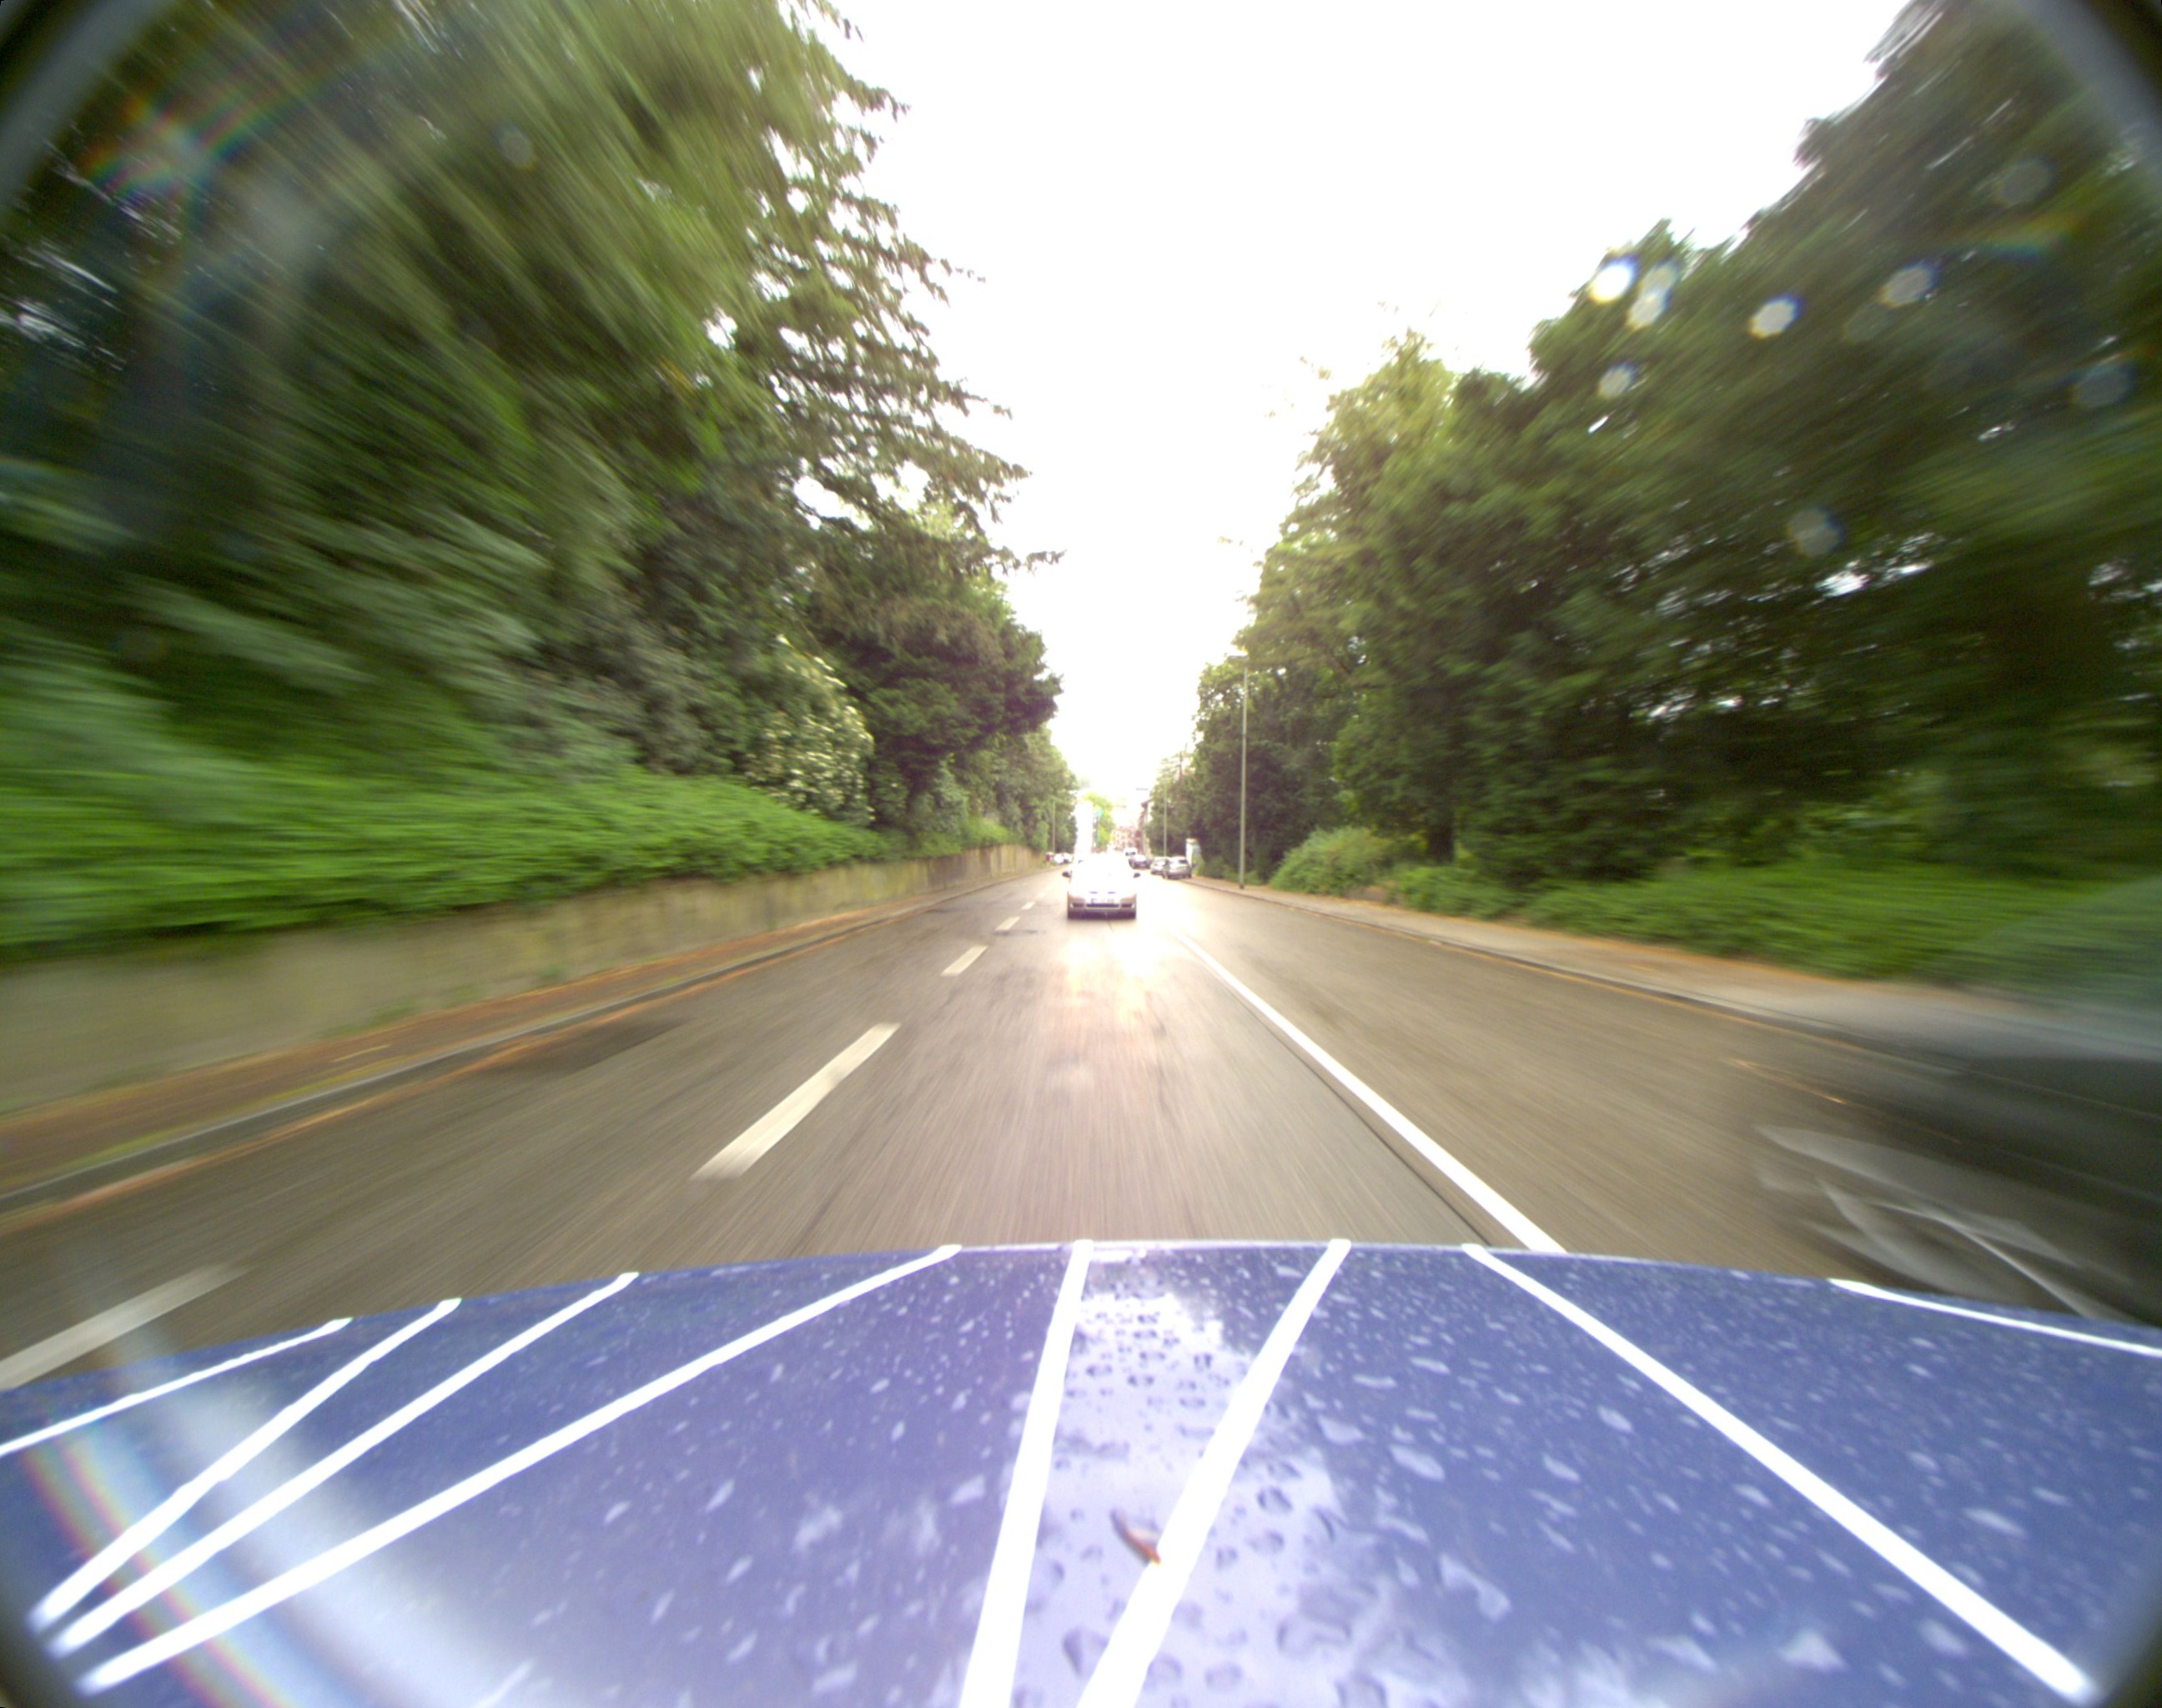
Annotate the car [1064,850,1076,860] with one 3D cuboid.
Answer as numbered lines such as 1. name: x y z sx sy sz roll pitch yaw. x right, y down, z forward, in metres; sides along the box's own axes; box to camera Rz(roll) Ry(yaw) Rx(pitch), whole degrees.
1. car: -1.839 0.139 124.549 1.567 1.458 3.899 3 1 4

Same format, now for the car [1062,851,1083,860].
1. car: -1.792 0.291 161.000 4.192 1.565 1.804 4 1 3

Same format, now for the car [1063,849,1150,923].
1. car: 0.736 0.692 18.687 1.825 1.603 4.190 0 0 6

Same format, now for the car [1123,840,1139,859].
1. car: 7.177 -0.643 109.627 2.122 2.536 5.445 3 0 3

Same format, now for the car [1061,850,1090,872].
1. car: -0.371 0.499 56.556 1.998 1.603 3.967 0 0 2

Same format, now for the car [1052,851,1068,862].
1. car: -2.902 0.317 106.693 1.742 1.469 4.741 3 0 4

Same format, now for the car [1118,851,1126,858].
1. car: 8.877 0.167 163.523 1.764 1.482 4.001 0 0 4

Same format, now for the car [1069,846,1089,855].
1. car: -0.452 -0.777 170.419 4.192 1.635 1.803 4 2 3

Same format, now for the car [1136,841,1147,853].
1. car: 13.897 -1.600 174.462 2.122 2.536 5.445 3 0 3

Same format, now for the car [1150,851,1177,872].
1. car: 6.989 0.609 64.740 1.891 1.602 4.239 3 0 1

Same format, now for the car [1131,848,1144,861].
1. car: 7.337 0.078 98.707 1.648 1.595 4.186 3 1 4

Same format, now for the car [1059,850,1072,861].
1. car: -2.343 0.200 117.846 1.769 1.614 4.679 1 1 2

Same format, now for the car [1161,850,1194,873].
1. car: 6.718 0.513 53.089 1.630 1.490 3.927 -2 0 -2

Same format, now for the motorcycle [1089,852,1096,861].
1. motorcycle: 1.595 0.356 107.738 0.778 1.120 2.300 -1 1 6

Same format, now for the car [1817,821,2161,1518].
1. car: 3.561 0.766 0.717 1.835 1.701 3.999 -1 0 -1

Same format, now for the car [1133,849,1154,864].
1. car: 6.996 0.270 85.531 1.864 1.485 4.755 4 0 0
